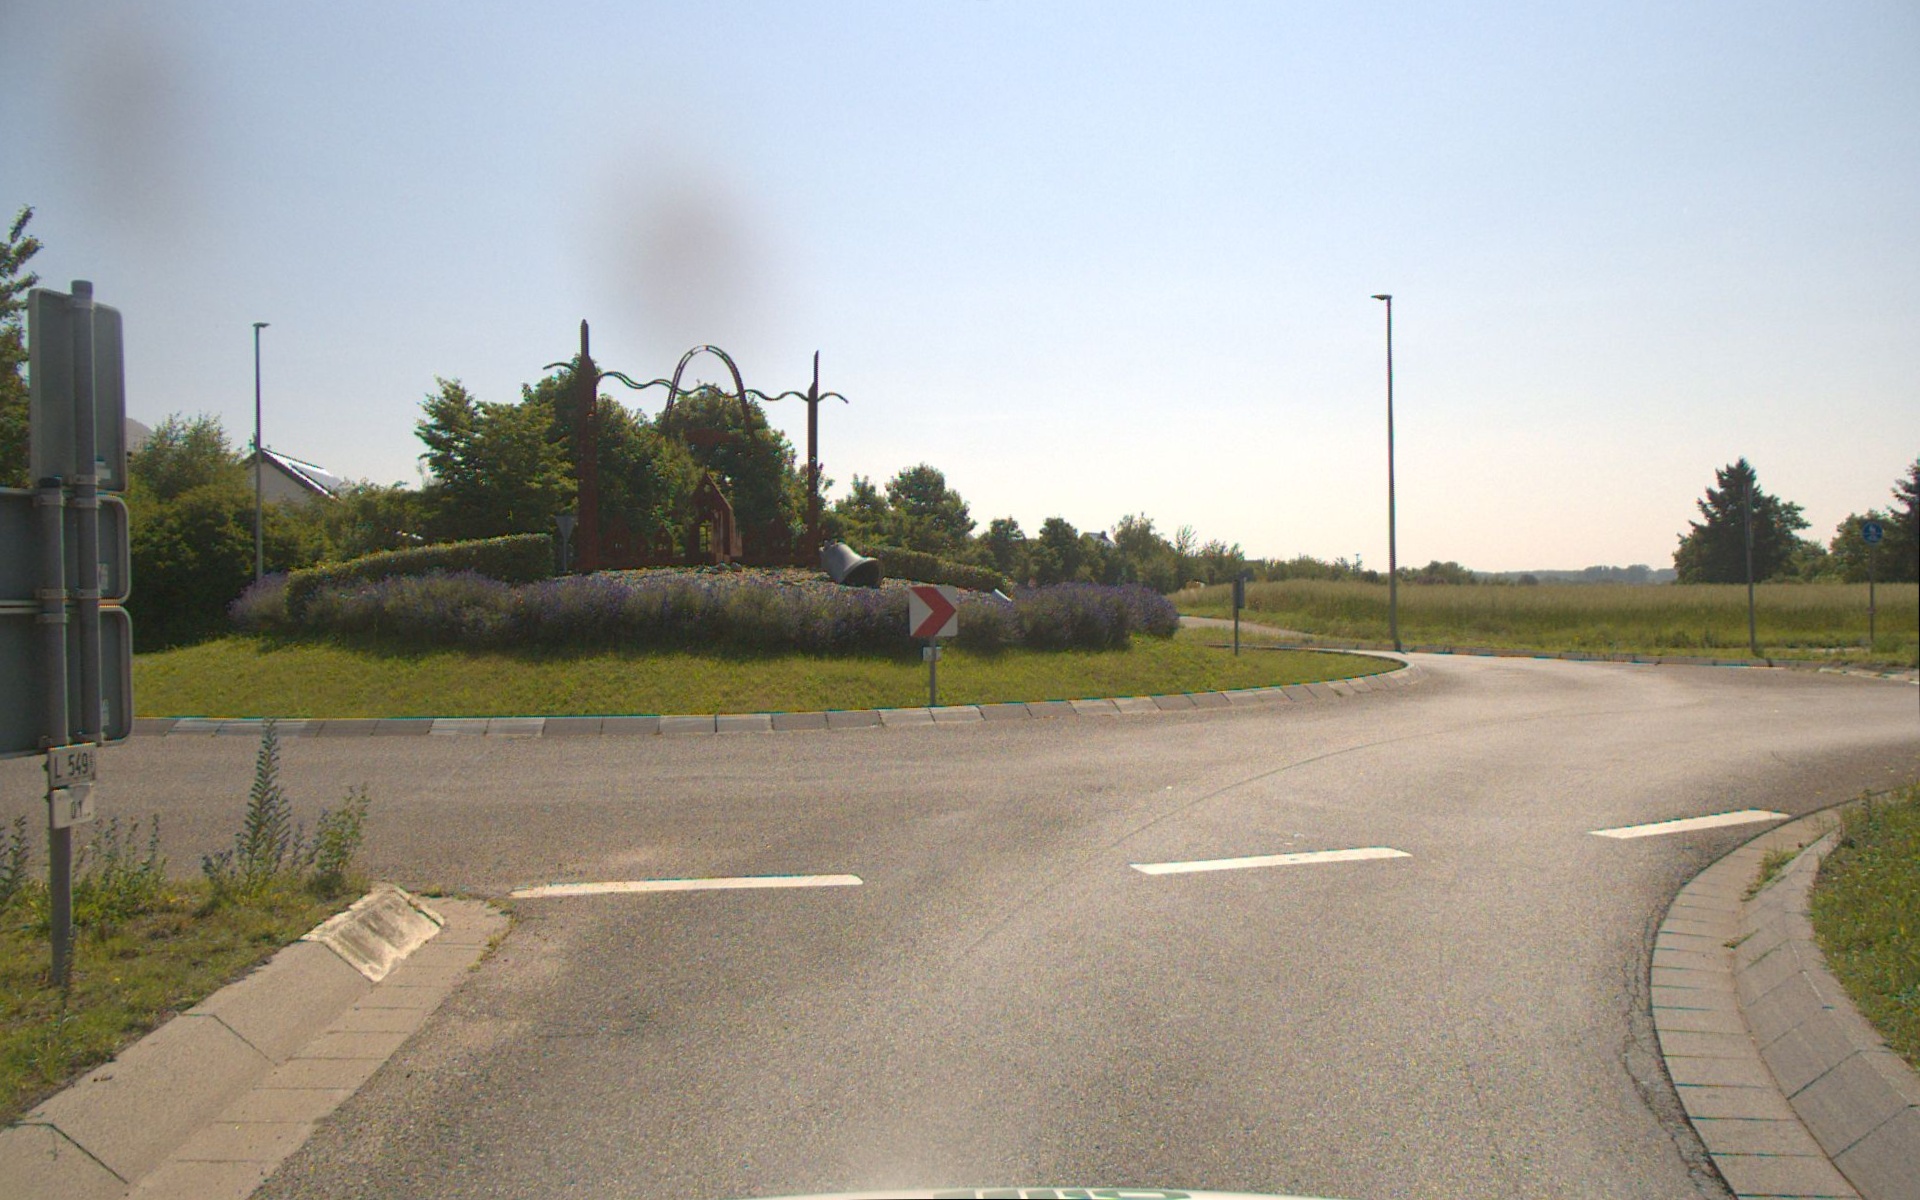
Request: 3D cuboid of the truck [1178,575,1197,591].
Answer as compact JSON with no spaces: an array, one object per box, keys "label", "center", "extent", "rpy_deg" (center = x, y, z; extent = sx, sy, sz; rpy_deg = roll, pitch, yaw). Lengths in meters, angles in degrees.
[{"label":"truck","center":[28.464,-2.125,206.749],"extent":[1.951,2.049,4.004],"rpy_deg":[0,1,13]}]
